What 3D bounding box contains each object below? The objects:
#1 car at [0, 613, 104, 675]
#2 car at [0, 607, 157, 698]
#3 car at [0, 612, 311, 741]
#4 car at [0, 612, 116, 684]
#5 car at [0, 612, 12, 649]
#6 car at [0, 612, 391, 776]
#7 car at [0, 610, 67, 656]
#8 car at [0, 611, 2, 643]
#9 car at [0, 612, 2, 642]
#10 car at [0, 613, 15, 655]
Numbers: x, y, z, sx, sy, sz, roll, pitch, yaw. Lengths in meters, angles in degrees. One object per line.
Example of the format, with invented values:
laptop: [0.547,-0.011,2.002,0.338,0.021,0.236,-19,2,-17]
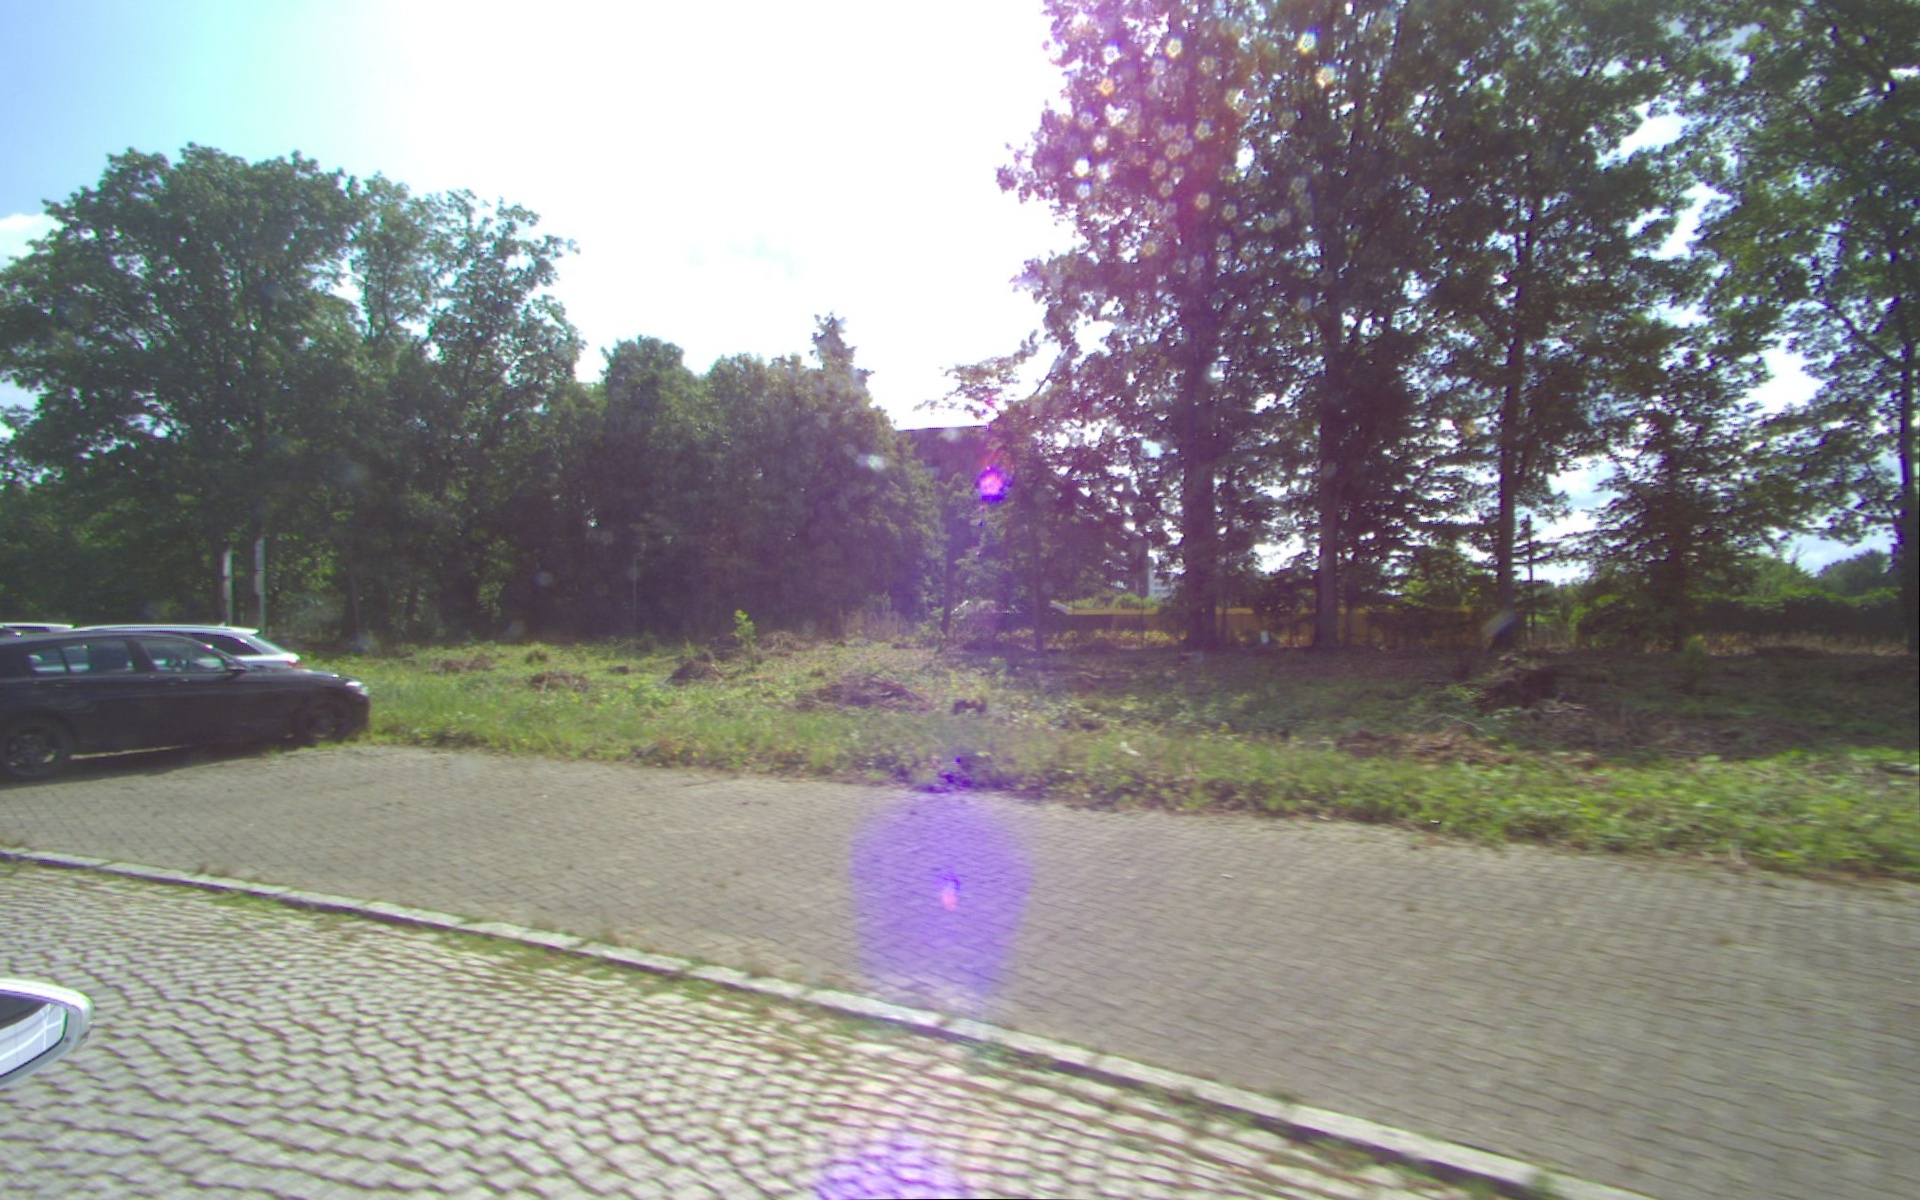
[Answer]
car: [-24.280,1.111,25.077,1.802,1.503,4.181,-1,-1,45]
car: [-17.496,0.940,17.765,1.859,1.573,4.828,-1,-1,41]
car: [-11.703,0.948,13.320,1.853,1.492,4.837,1,1,41]
car: [-21.162,1.053,21.542,1.746,1.503,4.376,-1,-1,41]
car: [-41.596,1.292,40.877,1.802,1.503,4.161,-1,-1,45]
car: [-9.158,0.930,11.419,1.804,1.520,4.313,1,1,34]
car: [-33.166,1.144,33.933,1.802,1.503,4.240,-1,-1,45]
car: [-47.612,1.321,46.741,1.802,1.503,4.161,-1,-1,45]
car: [-49.492,1.363,48.705,1.802,1.503,4.161,-1,-1,45]
car: [-37.712,1.312,36.885,1.802,1.563,4.161,-1,-1,45]
